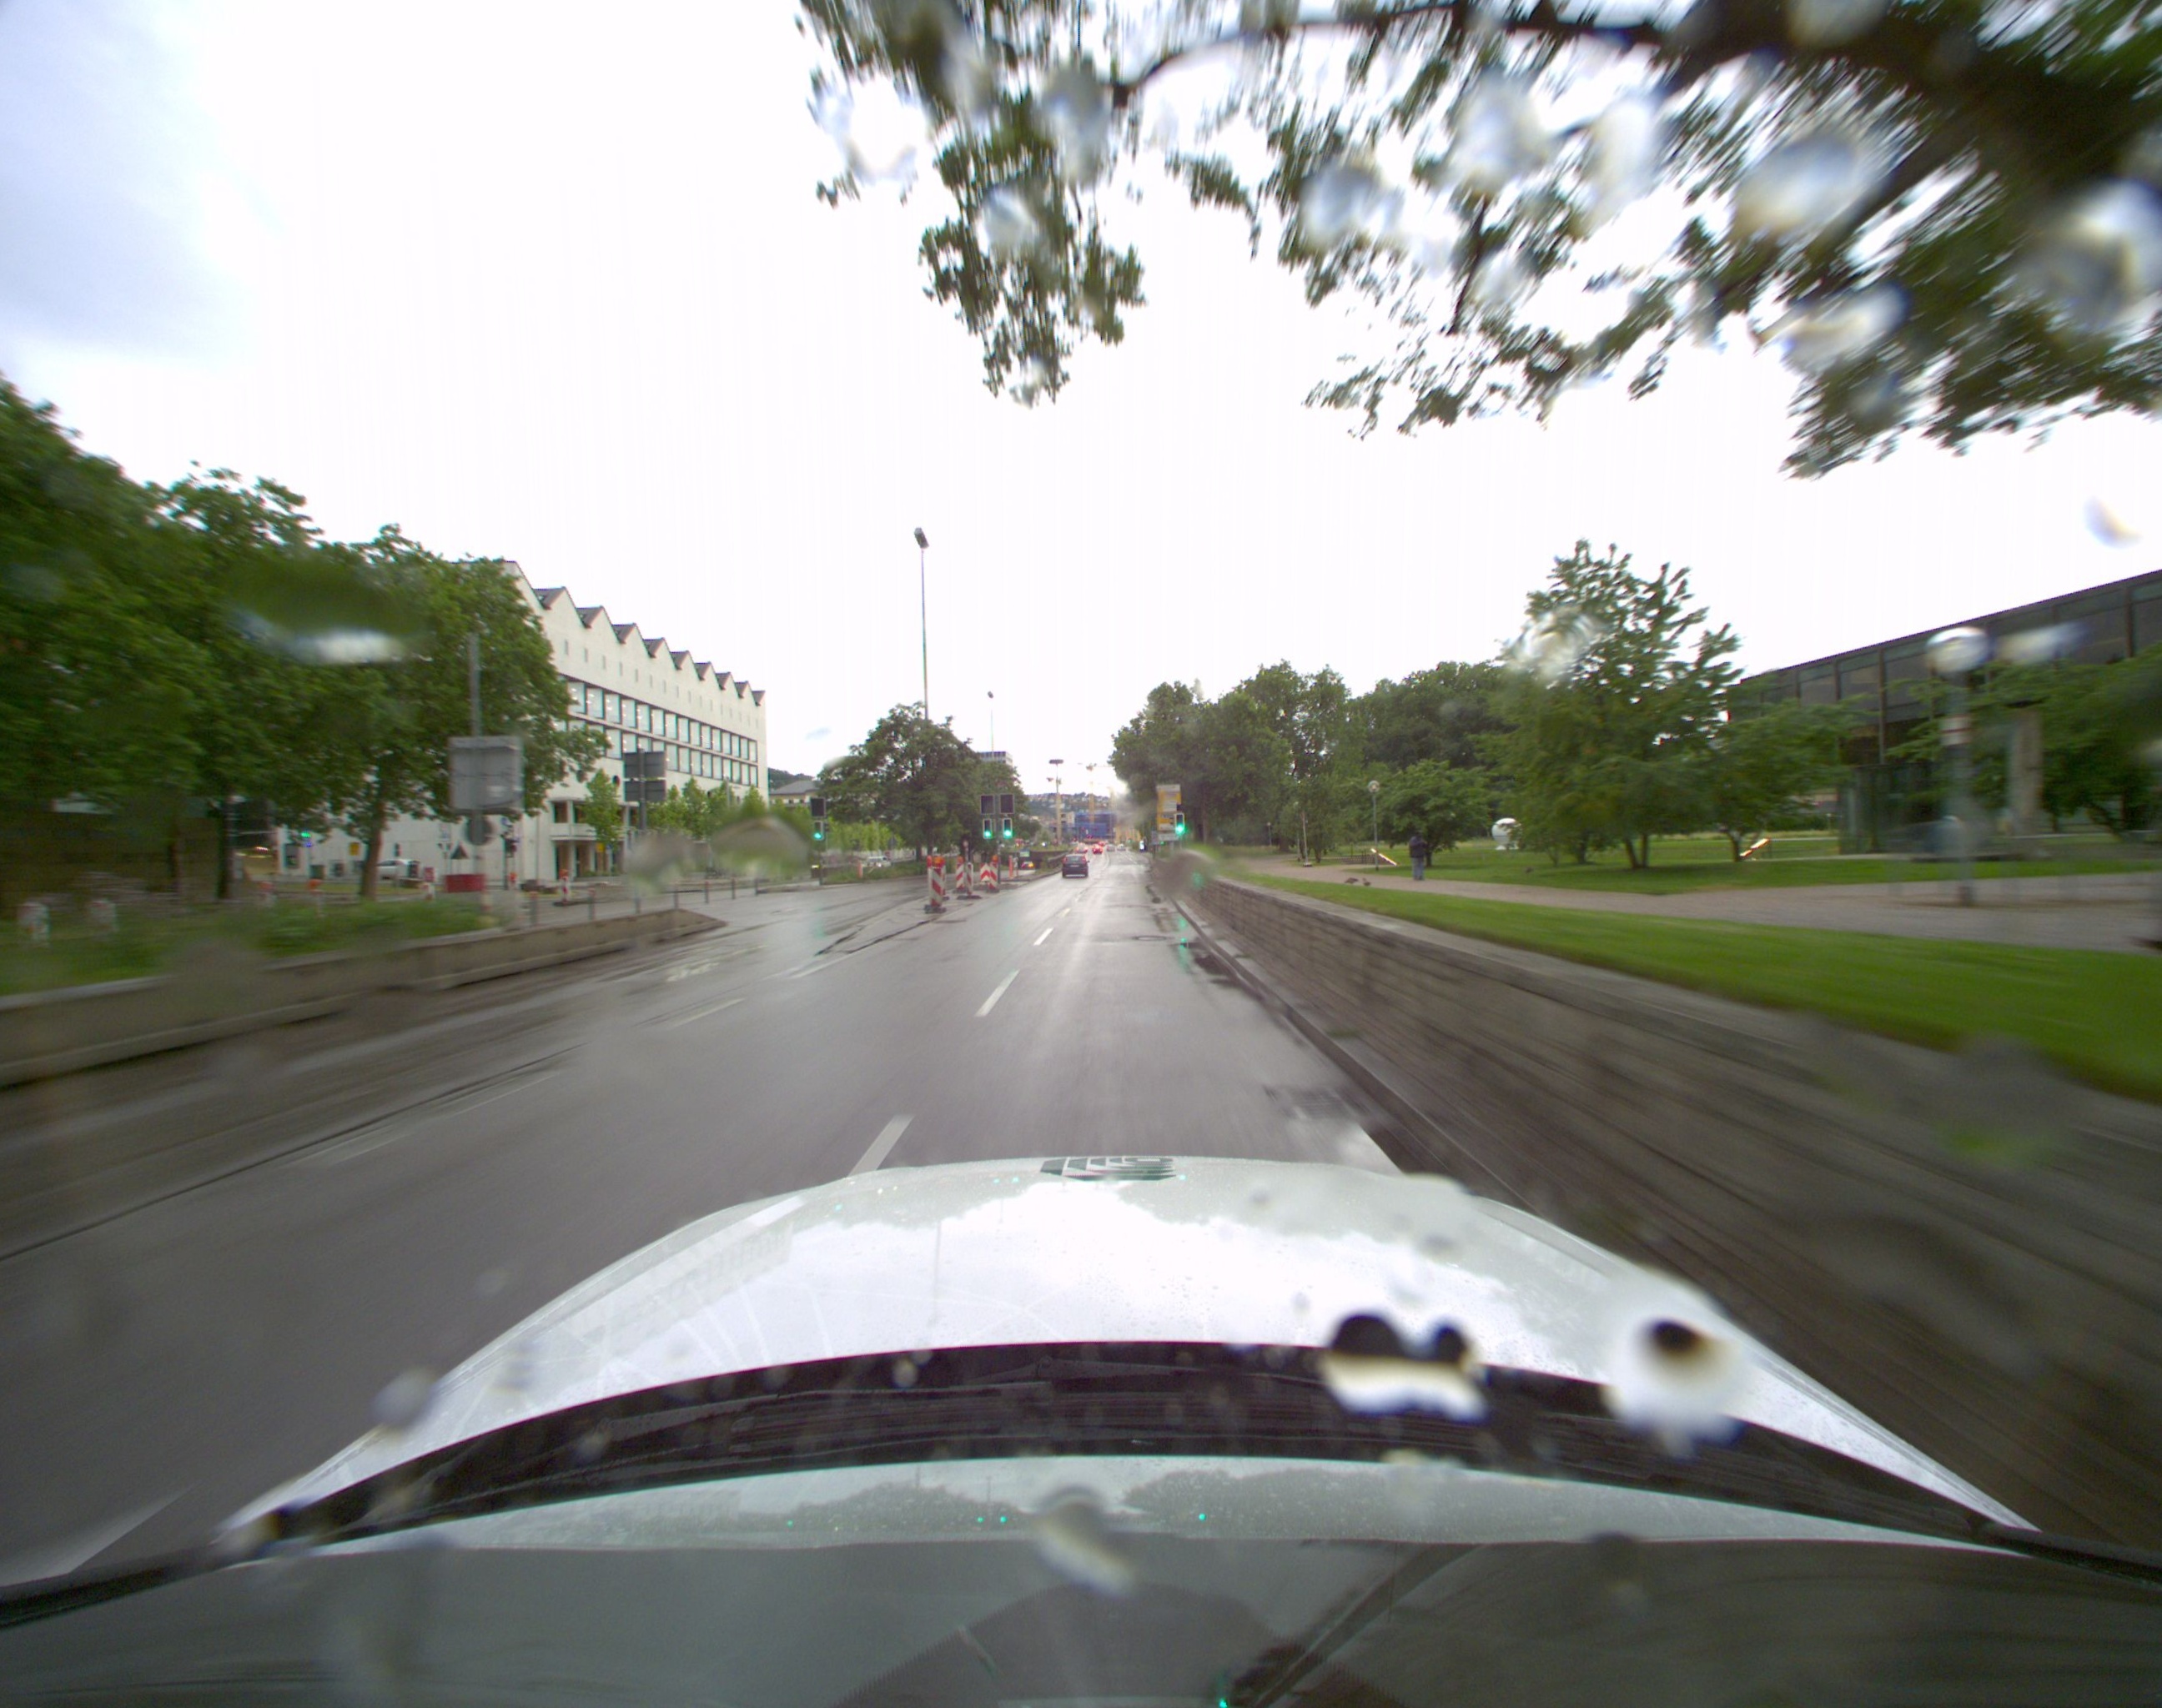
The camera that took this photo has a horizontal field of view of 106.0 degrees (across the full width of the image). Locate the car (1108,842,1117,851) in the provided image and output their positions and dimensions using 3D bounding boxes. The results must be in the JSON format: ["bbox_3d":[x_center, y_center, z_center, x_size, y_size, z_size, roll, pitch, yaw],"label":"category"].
[{"bbox_3d":[8.033,-1.850,207.282,1.980,2.014,4.000,-3,-1,1],"label":"car"}]

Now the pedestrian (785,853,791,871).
[{"bbox_3d":[-33.774,0.965,93.878,0.543,2.014,0.525,-2,-1,-35],"label":"pedestrian"}]

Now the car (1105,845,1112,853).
[{"bbox_3d":[7.145,-1.311,213.510,1.705,1.690,3.852,-3,-1,3],"label":"car"}]

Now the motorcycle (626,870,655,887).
[{"bbox_3d":[-32.659,1.811,60.384,1.844,1.154,0.423,-2,0,-27],"label":"motorcycle"}]

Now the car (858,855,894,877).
[{"bbox_3d":[-18.639,1.131,74.169,1.988,1.840,4.889,-3,-1,-1],"label":"car"}]

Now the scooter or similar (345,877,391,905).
[{"bbox_3d":[-38.229,1.973,43.694,0.706,1.351,1.684,-4,-1,21],"label":"scooter or similar"}]

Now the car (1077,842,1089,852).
[{"bbox_3d":[0.464,-1.586,190.776,2.210,2.014,4.005,3,-1,4],"label":"car"}]

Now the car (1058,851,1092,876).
[{"bbox_3d":[-0.423,0.639,52.199,1.841,1.416,3.832,-3,-1,-5],"label":"car"}]

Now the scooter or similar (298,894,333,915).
[{"bbox_3d":[-40.802,2.703,43.412,1.658,1.018,0.438,-4,-1,12],"label":"scooter or similar"}]

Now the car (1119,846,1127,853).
[{"bbox_3d":[11.071,-1.071,212.574,1.985,1.599,4.004,-3,-1,3],"label":"car"}]

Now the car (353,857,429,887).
[{"bbox_3d":[-51.117,1.311,60.365,3.967,2.013,2.003,-2,0,5],"label":"car"}]

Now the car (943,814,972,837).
[{"bbox_3d":[-10.081,-2.329,66.663,1.990,1.632,3.994,-2,0,-4],"label":"car"}]

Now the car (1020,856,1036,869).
[{"bbox_3d":[-7.980,1.306,122.735,1.986,1.781,4.002,-2,0,2],"label":"car"}]

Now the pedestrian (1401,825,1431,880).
[{"bbox_3d":[11.019,-0.066,26.780,0.593,1.755,0.725,-3,0,-2],"label":"pedestrian"}]

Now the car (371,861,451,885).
[{"bbox_3d":[-48.355,1.367,58.847,3.977,1.596,1.998,-2,0,-2],"label":"car"}]

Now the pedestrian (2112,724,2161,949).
[{"bbox_3d":[8.623,-0.156,6.121,0.702,1.718,0.692,-3,-2,1],"label":"pedestrian"}]

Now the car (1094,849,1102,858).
[{"bbox_3d":[3.761,-0.053,180.539,1.732,1.771,4.001,-3,-1,2],"label":"car"}]
